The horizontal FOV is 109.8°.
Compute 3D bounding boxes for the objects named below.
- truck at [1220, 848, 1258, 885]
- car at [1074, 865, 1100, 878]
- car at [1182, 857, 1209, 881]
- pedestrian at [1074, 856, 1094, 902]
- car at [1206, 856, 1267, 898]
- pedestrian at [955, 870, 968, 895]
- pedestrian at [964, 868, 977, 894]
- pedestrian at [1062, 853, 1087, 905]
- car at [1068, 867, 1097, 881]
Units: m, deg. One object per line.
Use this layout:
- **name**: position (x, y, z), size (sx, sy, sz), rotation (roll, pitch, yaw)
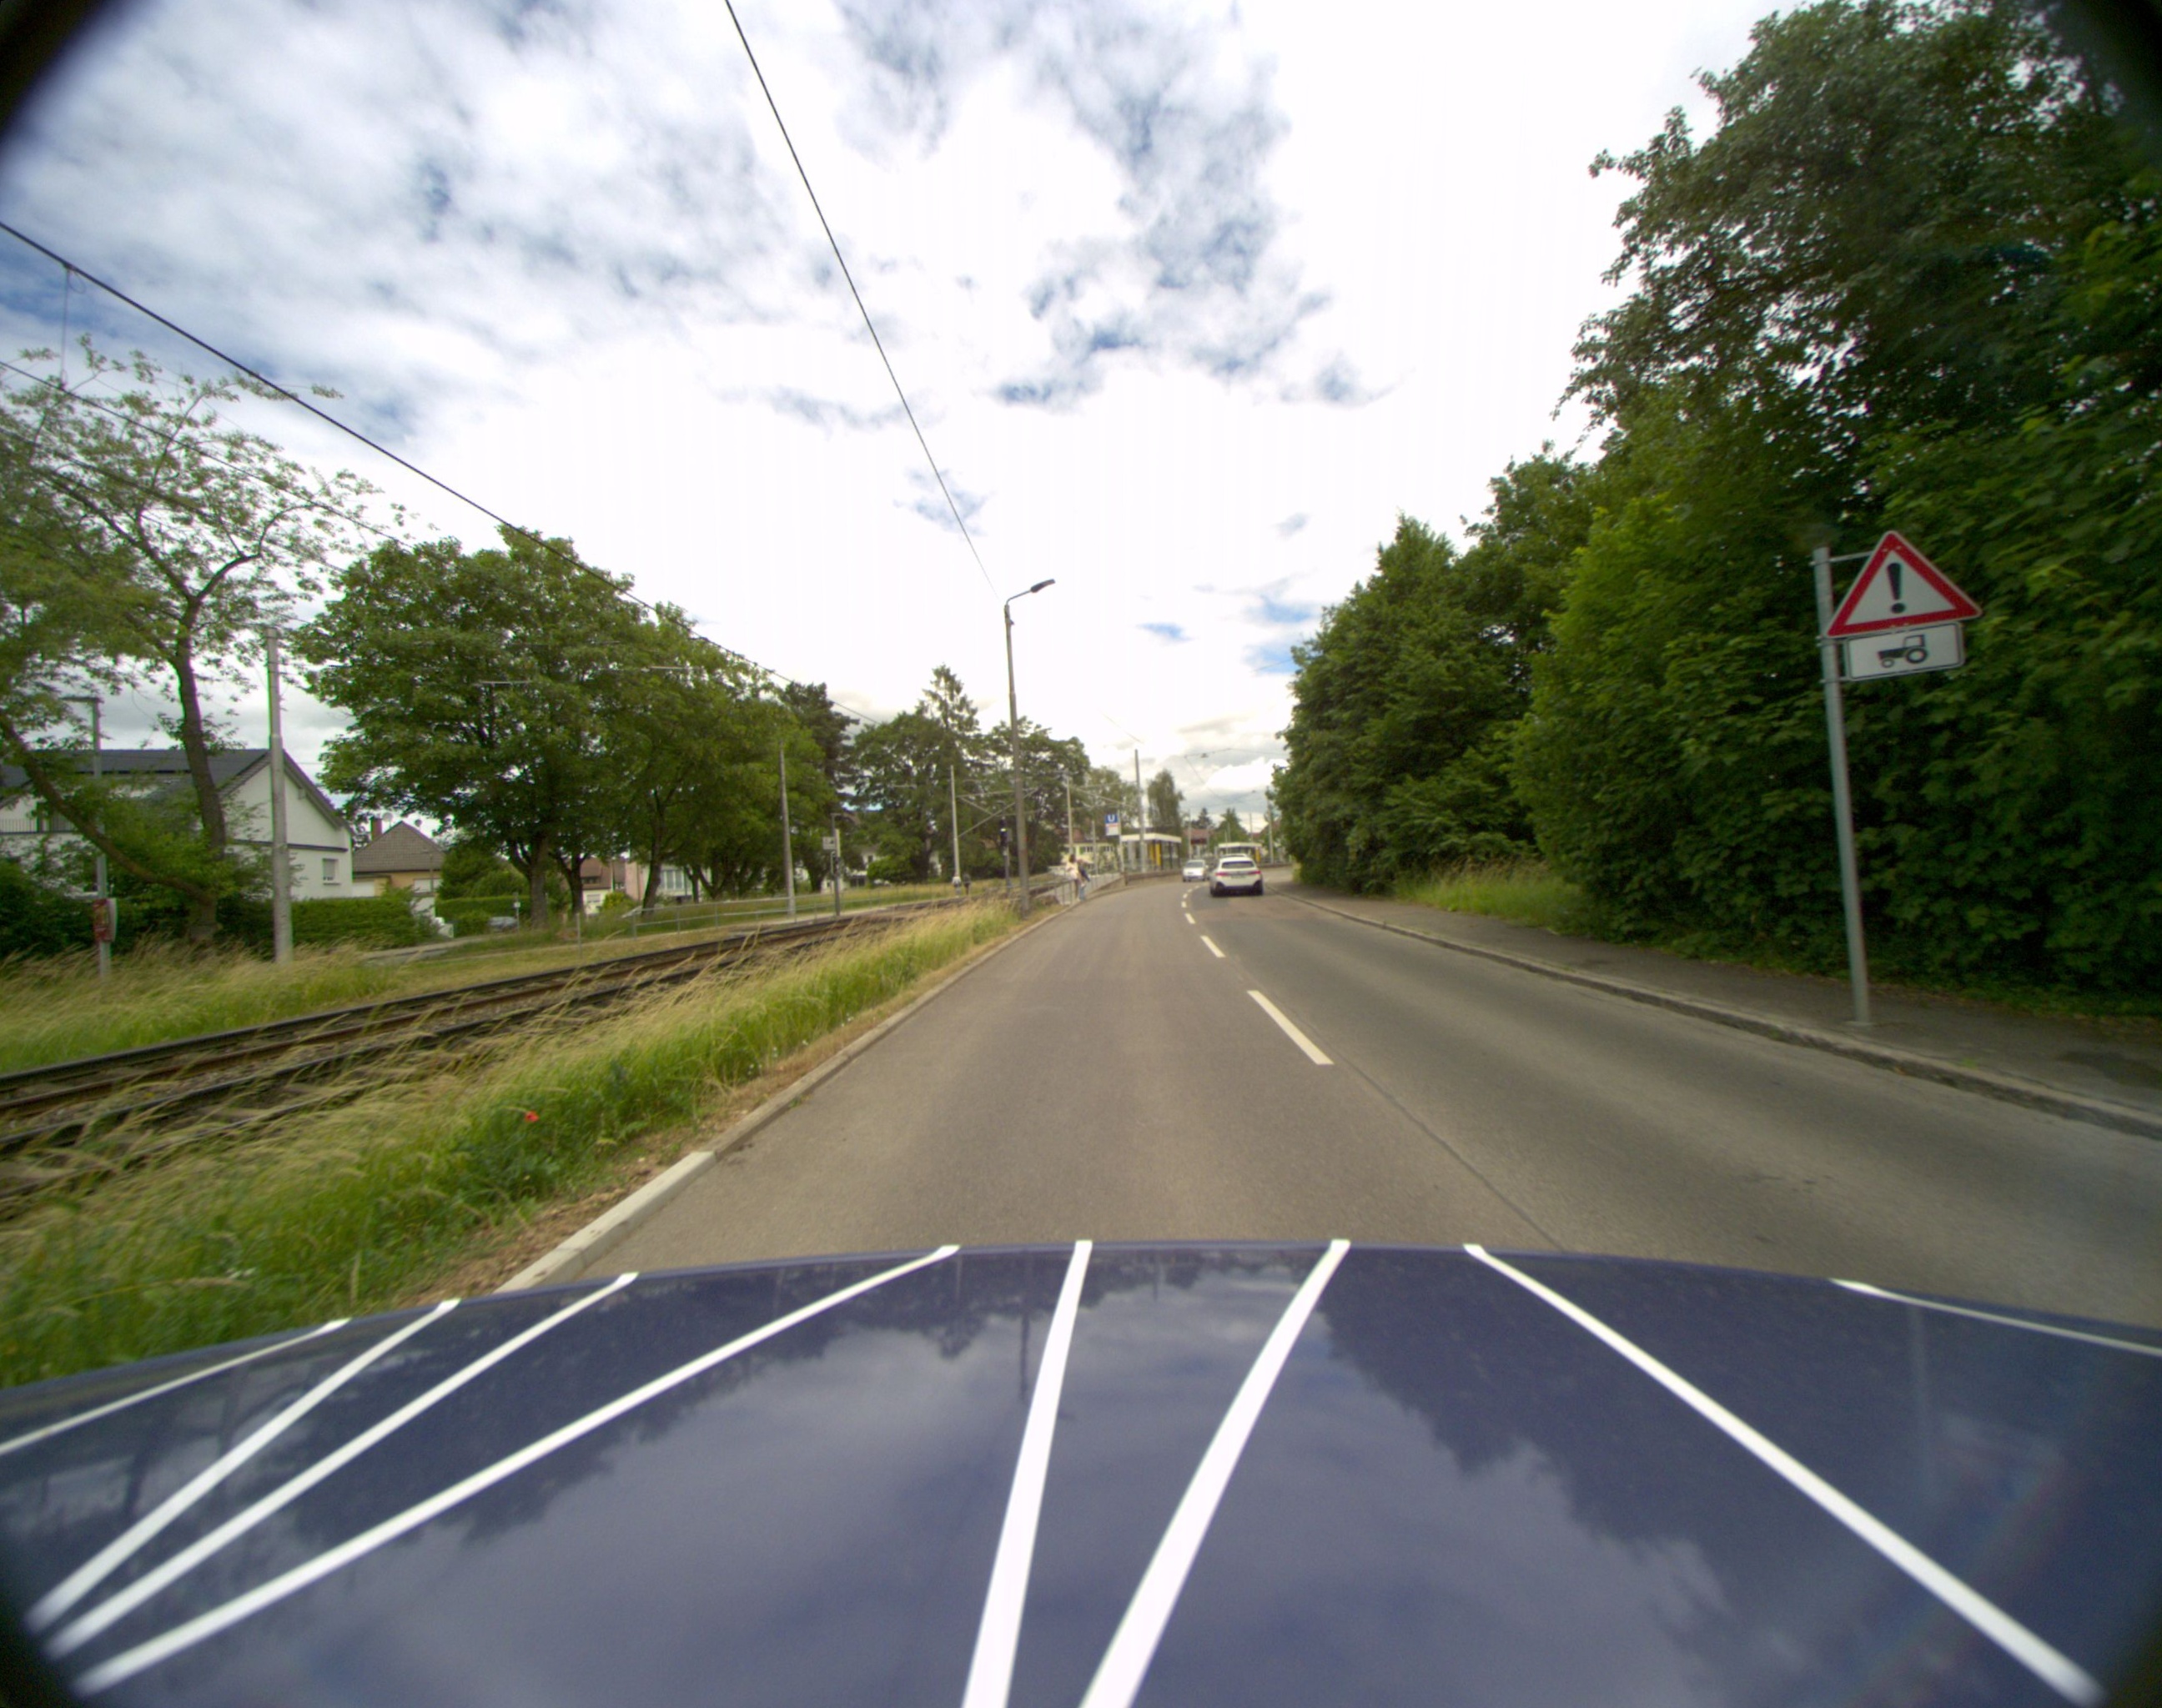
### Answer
- **truck**: position (9.112, 0.708, 44.192), size (1.851, 1.954, 4.962), rotation (-3, 0, 9)
- **car**: position (1.061, 2.832, 123.929), size (1.995, 1.851, 4.244), rotation (-5, -1, 37)
- **car**: position (8.675, 1.092, 57.335), size (1.732, 1.638, 4.230), rotation (-4, -1, 10)
- **pedestrian**: position (0.112, 0.947, 29.069), size (0.475, 1.719, 0.799), rotation (-5, 2, -15)
- **car**: position (6.104, 0.841, 30.324), size (1.934, 1.513, 4.661), rotation (-1, 0, 6)
- **pedestrian**: position (-7.667, 1.827, 48.677), size (0.493, 1.552, 0.693), rotation (-4, 0, 12)
- **pedestrian**: position (-7.063, 1.749, 48.646), size (0.493, 1.612, 0.791), rotation (-4, 0, 12)
- **pedestrian**: position (-0.235, 0.904, 27.857), size (0.661, 1.830, 0.596), rotation (-5, 2, -14)
- **car**: position (0.212, 2.386, 90.903), size (1.996, 1.340, 4.006), rotation (-4, -1, 23)
